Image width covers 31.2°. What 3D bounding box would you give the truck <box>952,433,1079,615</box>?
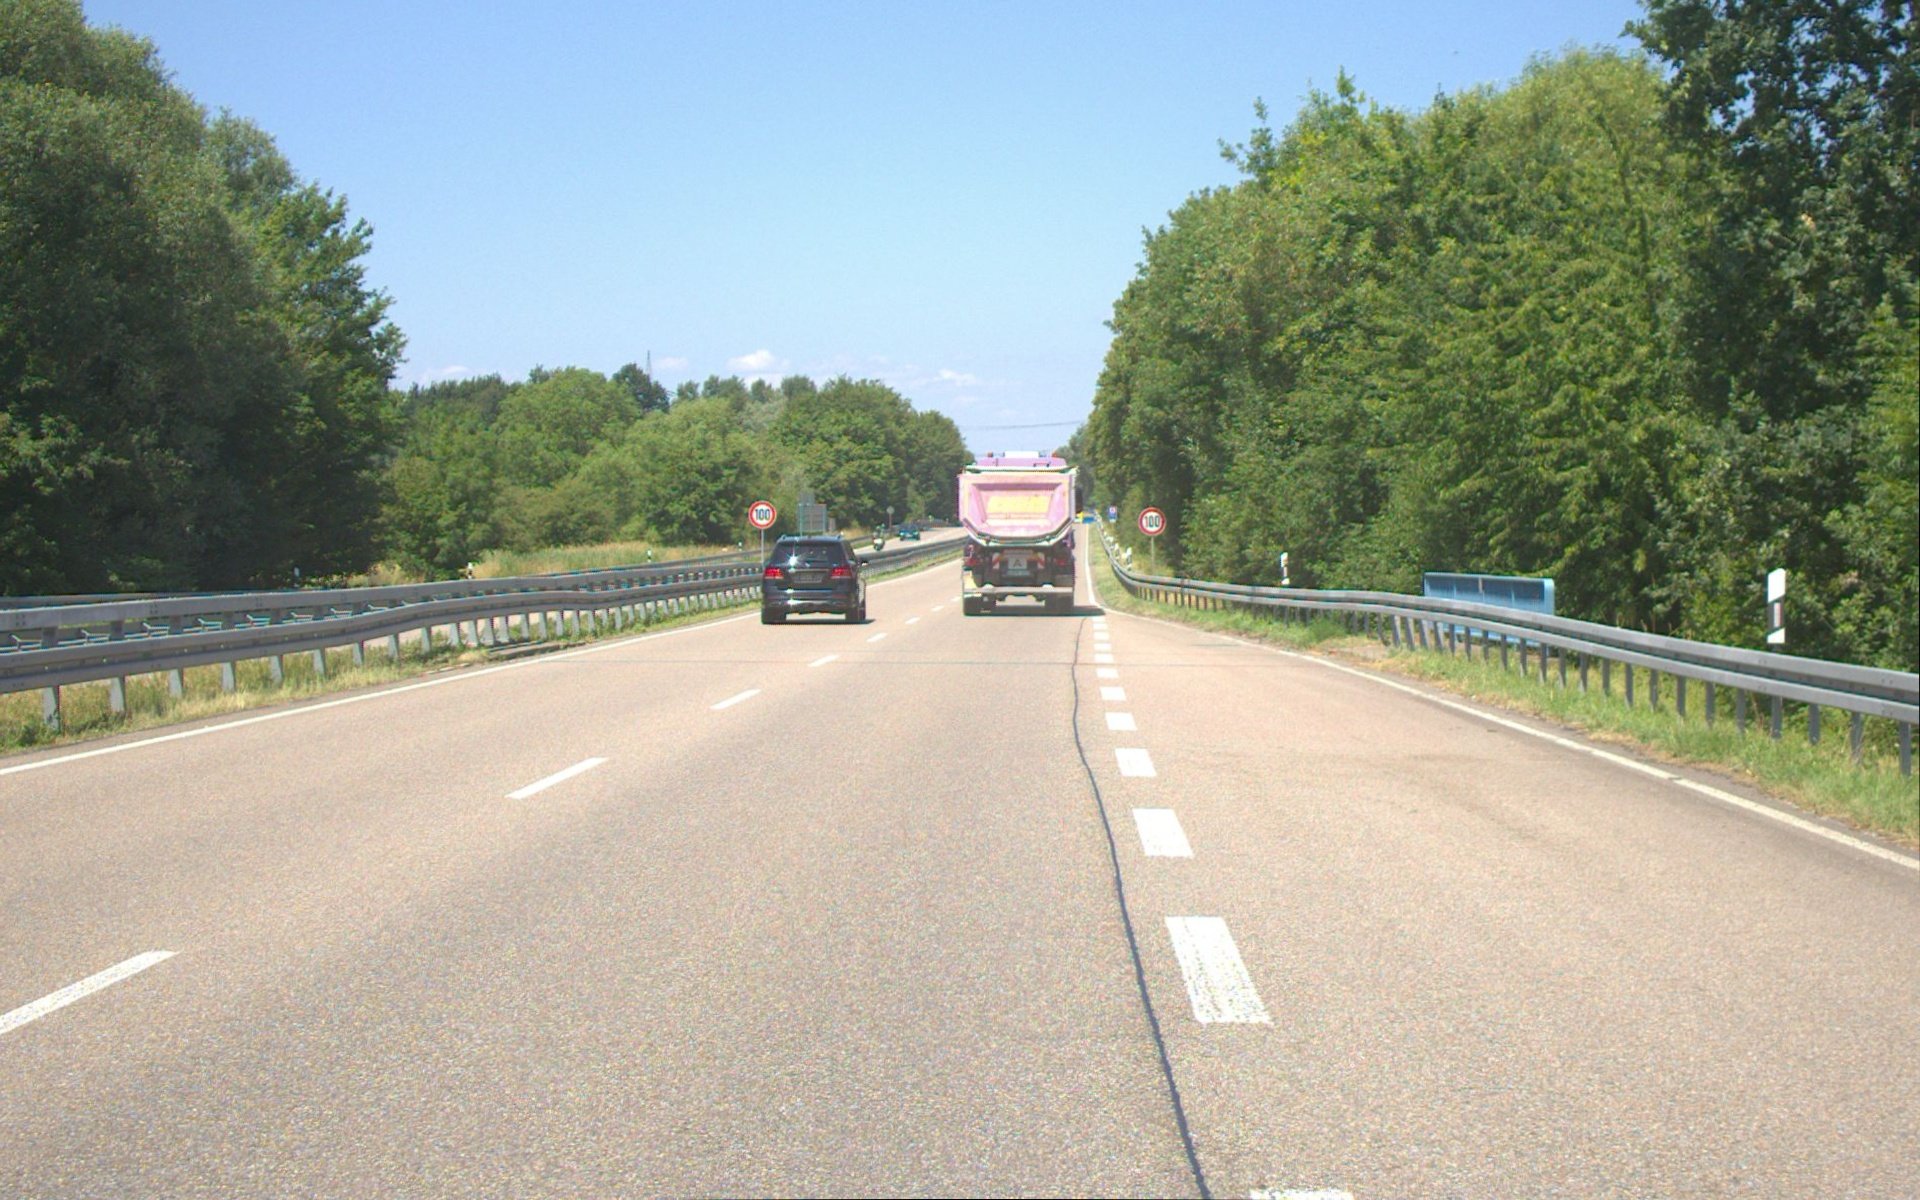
[{"bbox_3d":[1.342,-1.835,80.091,2.720,3.916,12.370,0,2,1],"label":"truck"}]

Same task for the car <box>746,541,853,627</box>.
[{"bbox_3d":[-3.186,-0.314,68.895,1.857,1.665,4.000,0,0,1],"label":"car"}]

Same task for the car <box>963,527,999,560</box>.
[{"bbox_3d":[1.156,-3.064,185.758,1.857,1.712,4.000,0,0,1],"label":"car"}]
